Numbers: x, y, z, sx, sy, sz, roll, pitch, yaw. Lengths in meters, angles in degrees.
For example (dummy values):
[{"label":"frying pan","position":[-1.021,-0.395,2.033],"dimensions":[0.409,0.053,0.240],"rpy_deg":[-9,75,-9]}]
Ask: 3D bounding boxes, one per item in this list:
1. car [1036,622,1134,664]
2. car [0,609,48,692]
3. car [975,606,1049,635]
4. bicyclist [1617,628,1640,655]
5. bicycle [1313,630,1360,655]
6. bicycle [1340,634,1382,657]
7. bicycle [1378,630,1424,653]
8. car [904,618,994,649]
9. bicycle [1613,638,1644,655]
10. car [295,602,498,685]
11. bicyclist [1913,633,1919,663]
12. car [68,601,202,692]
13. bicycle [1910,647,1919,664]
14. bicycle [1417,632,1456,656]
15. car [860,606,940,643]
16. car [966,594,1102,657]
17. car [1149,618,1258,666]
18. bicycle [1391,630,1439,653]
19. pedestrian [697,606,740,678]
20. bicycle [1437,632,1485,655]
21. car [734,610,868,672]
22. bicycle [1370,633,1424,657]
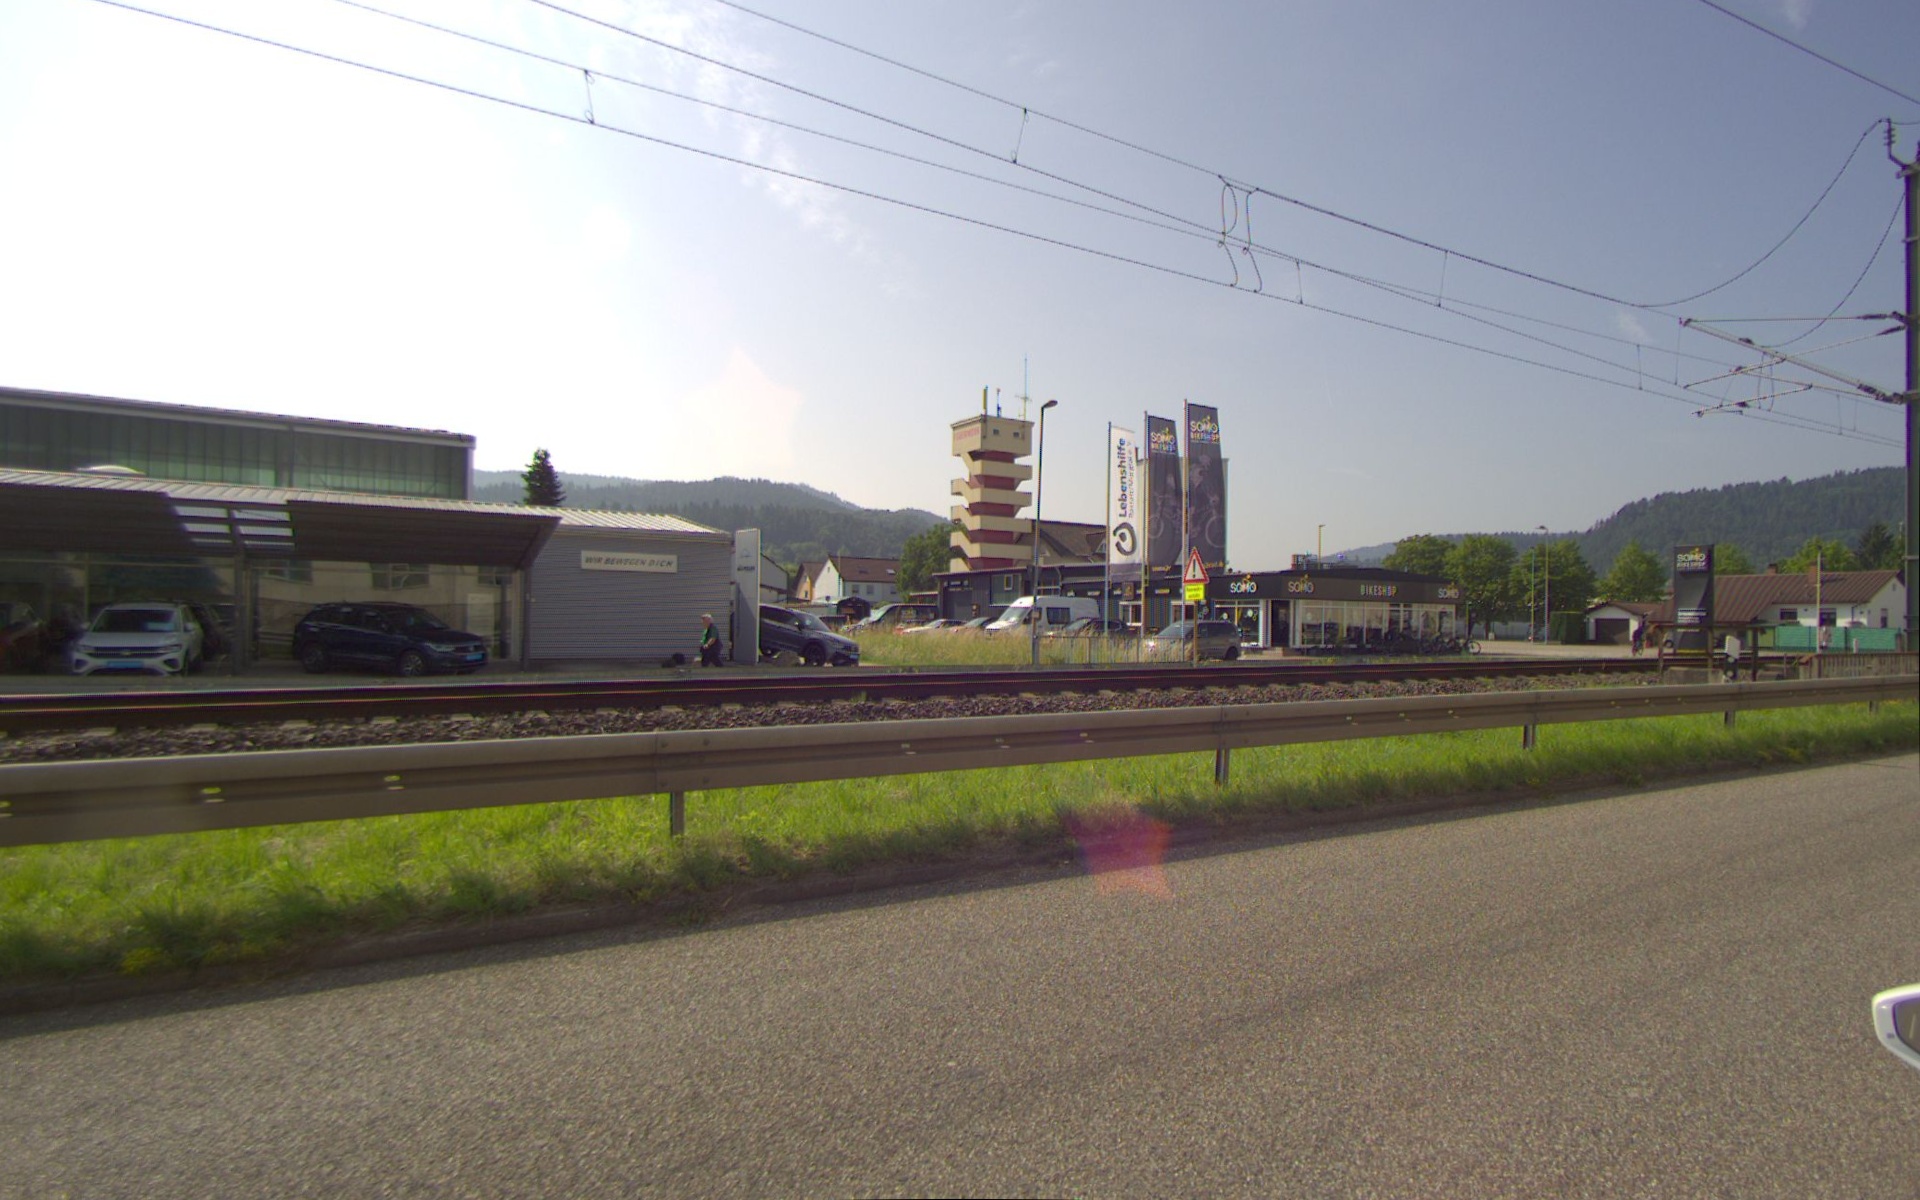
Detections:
[{"label":"car","position":[5.479,1.889,43.922],"dimensions":[3.958,1.685,1.857],"rpy_deg":[3,-2,-33]},{"label":"car","position":[-19.169,0.941,19.485],"dimensions":[1.486,1.343,3.933],"rpy_deg":[1,2,-32]},{"label":"car","position":[2.662,1.045,51.054],"dimensions":[3.479,1.375,1.508],"rpy_deg":[2,-2,-30]},{"label":"bicyclist","position":[41.589,2.578,62.505],"dimensions":[1.131,1.641,0.743],"rpy_deg":[1,-1,-26]},{"label":"bicycle","position":[18.145,2.029,48.443],"dimensions":[0.721,1.145,2.157],"rpy_deg":[2,-2,-30]},{"label":"bicycle","position":[20.001,2.278,50.111],"dimensions":[2.147,1.145,0.725],"rpy_deg":[2,-2,-28]},{"label":"bicycle","position":[22.447,2.097,51.190],"dimensions":[0.721,1.145,2.157],"rpy_deg":[2,-2,-30]},{"label":"car","position":[-0.582,1.915,56.520],"dimensions":[4.706,1.664,1.985],"rpy_deg":[2,-2,-30]},{"label":"bicycle","position":[41.571,2.909,62.502],"dimensions":[1.937,1.030,0.752],"rpy_deg":[1,-1,-27]},{"label":"car","position":[-13.048,0.962,23.322],"dimensions":[3.950,1.644,1.664],"rpy_deg":[2,1,12]},{"label":"bicyclist","position":[54.086,2.709,56.463],"dimensions":[0.822,1.668,0.530],"rpy_deg":[1,-1,-31]},{"label":"car","position":[-17.046,0.900,20.920],"dimensions":[1.645,1.548,3.933],"rpy_deg":[1,2,-32]},{"label":"bicycle","position":[53.976,3.102,56.391],"dimensions":[1.691,0.935,0.542],"rpy_deg":[1,-2,-32]},{"label":"bicycle","position":[23.844,2.200,50.204],"dimensions":[2.150,1.145,0.724],"rpy_deg":[2,-2,-32]},{"label":"car","position":[-3.844,1.595,64.114],"dimensions":[4.706,2.241,1.985],"rpy_deg":[2,-2,-30]},{"label":"car","position":[3.499,1.231,46.707],"dimensions":[6.094,2.667,2.360],"rpy_deg":[3,-3,-33]},{"label":"car","position":[9.358,1.589,38.511],"dimensions":[4.324,1.711,1.509],"rpy_deg":[2,0,-34]},{"label":"bicycle","position":[23.434,2.126,51.763],"dimensions":[0.724,1.145,2.150],"rpy_deg":[2,-2,-39]},{"label":"pedestrian","position":[-5.984,1.035,24.901],"dimensions":[0.826,1.757,0.797],"rpy_deg":[1,-1,-32]},{"label":"bicycle","position":[26.145,2.241,52.441],"dimensions":[0.724,1.145,2.150],"rpy_deg":[2,-2,-39]},{"label":"car","position":[-5.046,1.272,31.863],"dimensions":[3.924,1.550,1.522],"rpy_deg":[5,1,25]},{"label":"bicycle","position":[21.163,2.171,48.674],"dimensions":[2.275,1.145,0.730],"rpy_deg":[1,-1,4]}]
